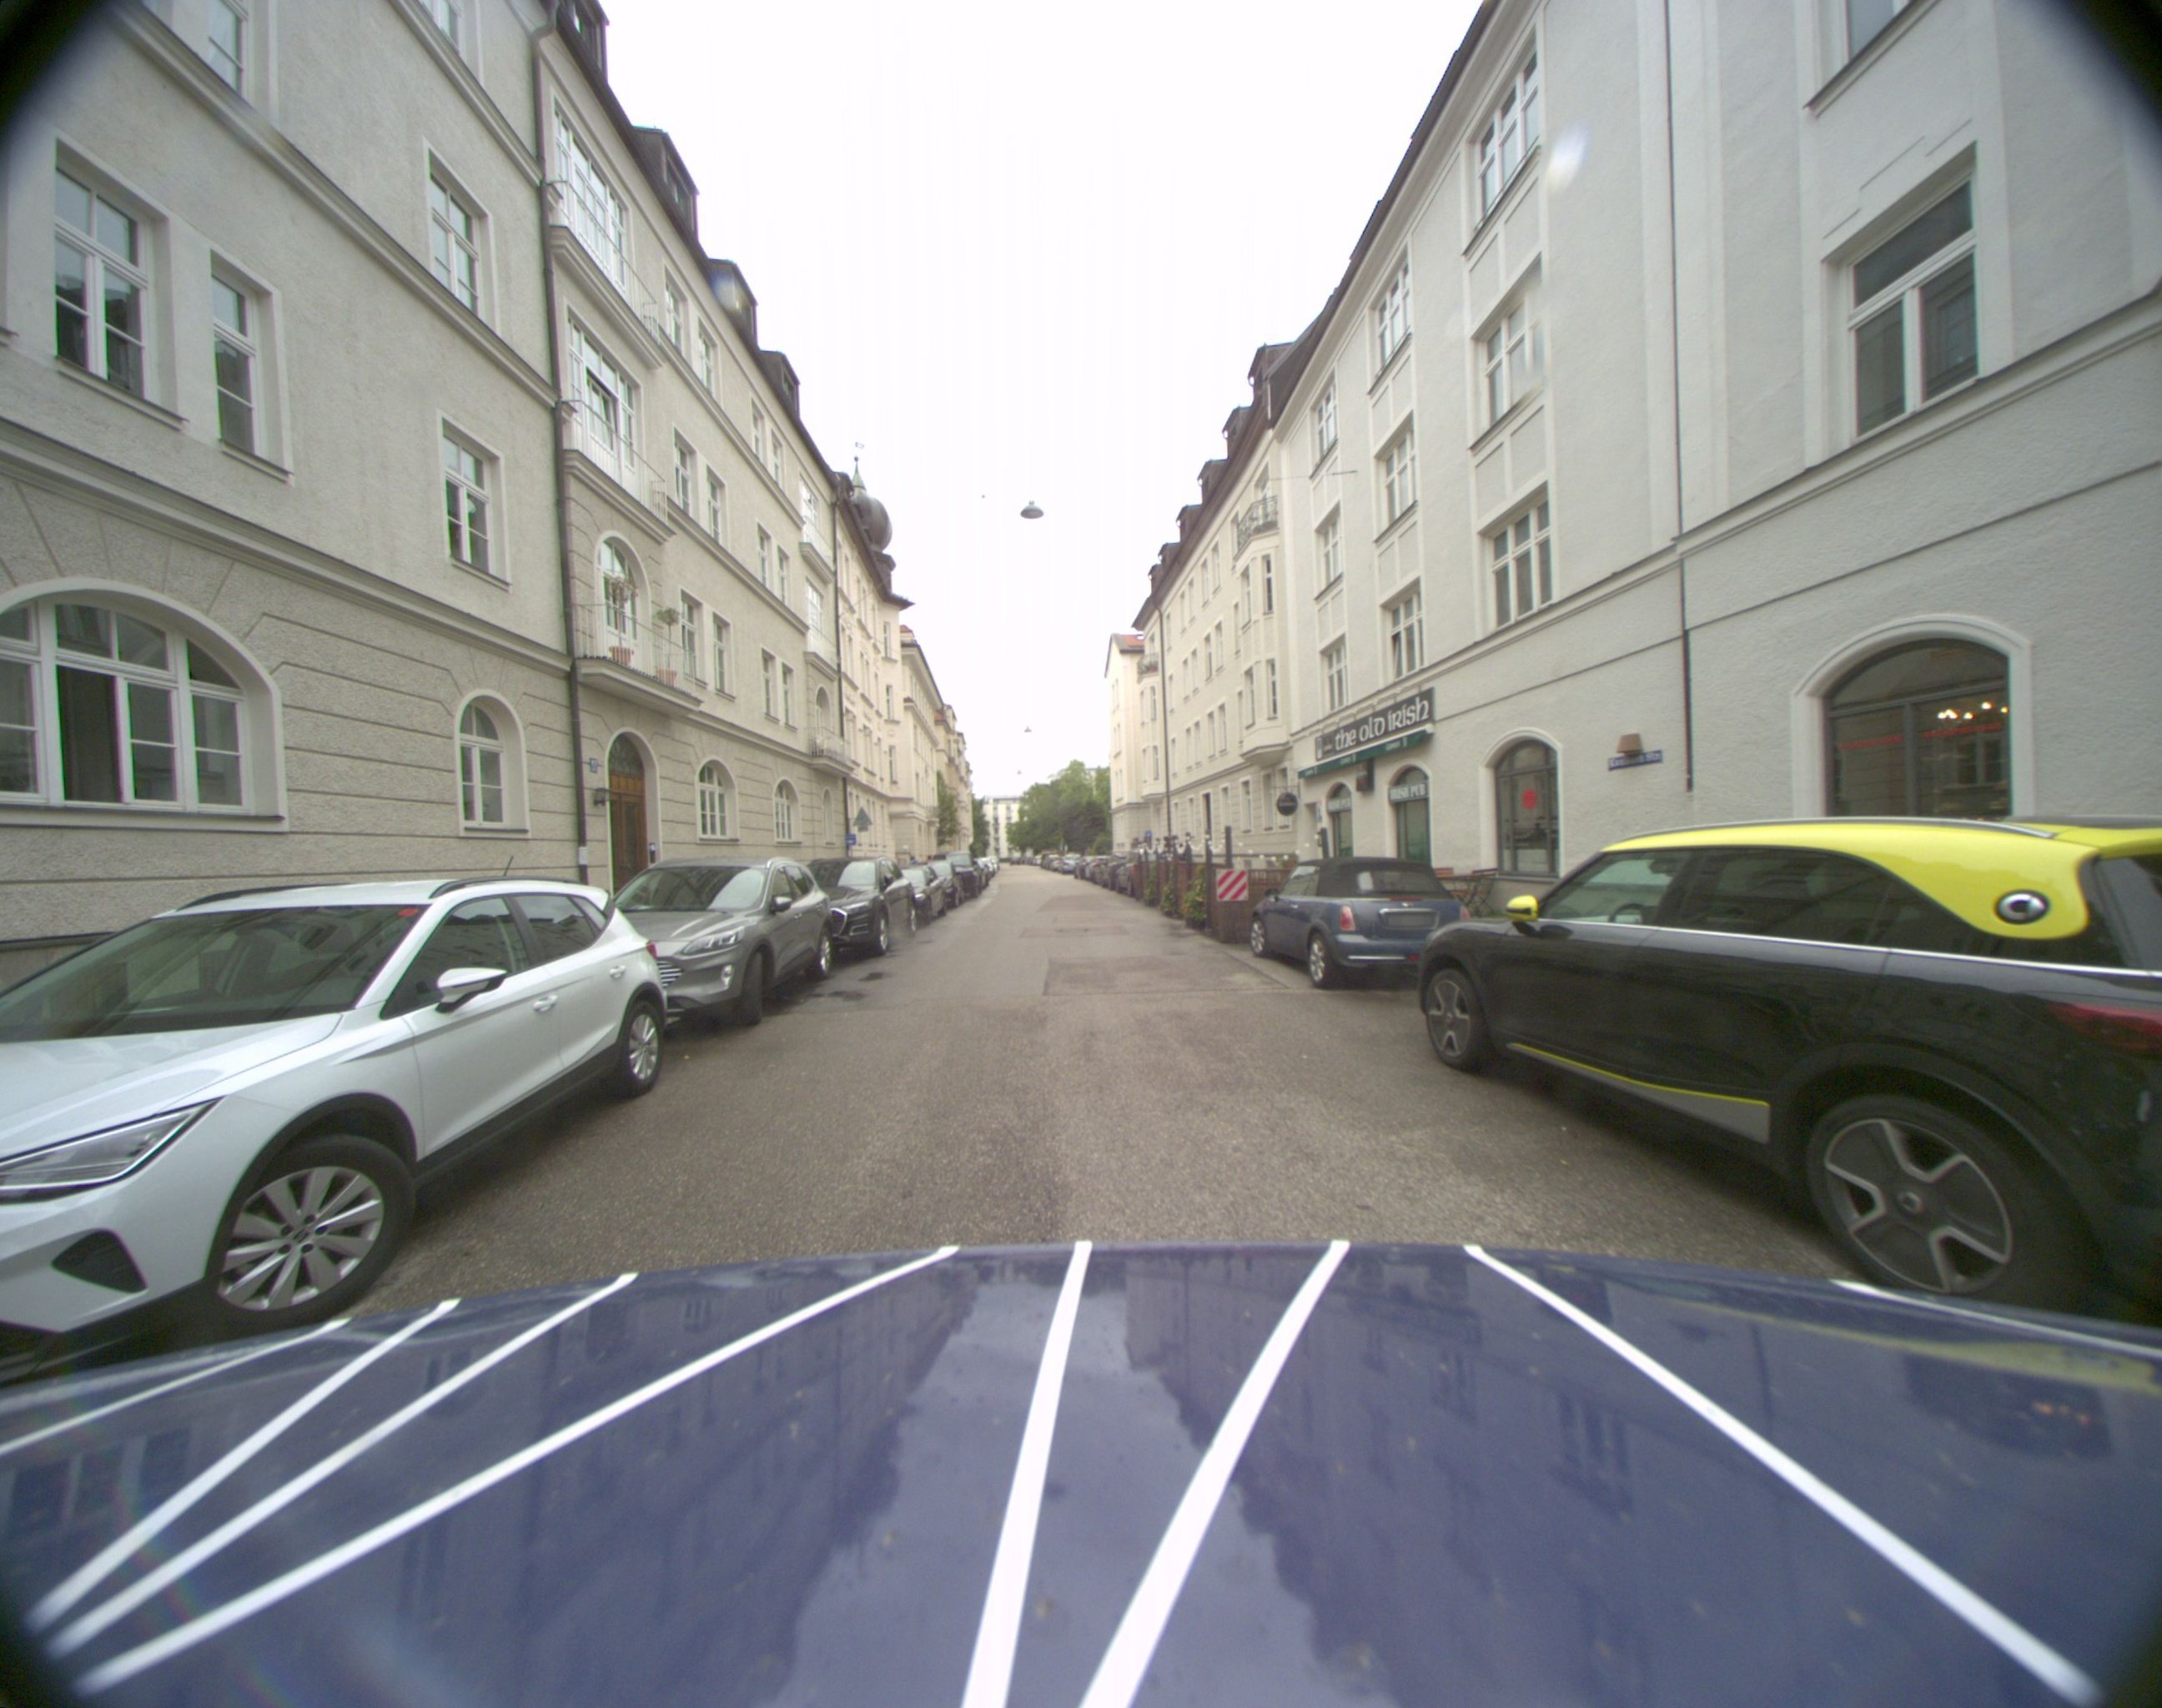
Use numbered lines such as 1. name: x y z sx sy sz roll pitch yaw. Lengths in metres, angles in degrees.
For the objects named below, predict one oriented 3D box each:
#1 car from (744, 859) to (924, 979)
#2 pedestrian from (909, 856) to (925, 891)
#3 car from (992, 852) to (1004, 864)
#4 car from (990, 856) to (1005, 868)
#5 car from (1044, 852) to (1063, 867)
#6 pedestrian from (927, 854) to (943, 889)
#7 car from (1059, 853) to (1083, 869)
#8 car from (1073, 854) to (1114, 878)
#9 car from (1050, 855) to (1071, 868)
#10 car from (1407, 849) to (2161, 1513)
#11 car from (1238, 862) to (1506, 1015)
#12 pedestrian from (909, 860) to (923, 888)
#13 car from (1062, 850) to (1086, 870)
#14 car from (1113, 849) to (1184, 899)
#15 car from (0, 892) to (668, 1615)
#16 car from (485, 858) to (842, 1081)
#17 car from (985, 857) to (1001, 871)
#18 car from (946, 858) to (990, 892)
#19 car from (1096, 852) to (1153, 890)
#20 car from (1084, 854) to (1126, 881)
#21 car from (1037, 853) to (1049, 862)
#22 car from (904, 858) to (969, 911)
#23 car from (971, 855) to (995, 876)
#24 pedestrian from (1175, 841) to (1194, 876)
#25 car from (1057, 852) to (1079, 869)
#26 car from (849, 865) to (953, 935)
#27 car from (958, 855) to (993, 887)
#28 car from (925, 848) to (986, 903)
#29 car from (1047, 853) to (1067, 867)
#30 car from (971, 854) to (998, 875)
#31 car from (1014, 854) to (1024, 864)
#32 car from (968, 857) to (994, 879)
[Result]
1. car: -4.096 0.966 13.396 1.782 1.626 4.374 -4 0 -2
2. pedestrian: -7.983 0.931 37.029 0.682 1.664 0.654 0 1 -8
3. car: -15.055 0.759 137.442 1.795 1.926 4.082 -4 0 -8
4. car: -10.854 0.997 98.788 1.646 1.409 3.998 -3 1 -5
5. car: -3.272 0.655 90.159 1.811 1.638 4.483 -5 0 -6
6. pedestrian: -7.241 0.874 37.778 0.705 1.718 0.703 -1 1 -8
7. car: -0.952 0.569 67.895 1.650 1.395 3.997 0 0 -8
8. car: 0.722 0.709 48.281 1.855 1.359 4.699 -3 0 -7
9. car: -2.208 0.817 80.694 1.740 1.357 4.190 -1 0 -8
10. car: 3.362 0.784 3.692 1.681 1.588 3.943 0 1 -3
11. car: 3.253 0.843 9.397 1.711 1.382 3.999 -1 1 -1
12. pedestrian: -10.052 1.226 46.311 0.684 1.669 0.811 0 0 -6
13. car: -0.592 0.466 61.627 1.701 1.571 4.060 0 0 -5
14. car: 2.363 0.669 27.522 1.751 1.663 4.273 1 0 -6
15. car: -3.682 1.067 3.533 1.756 1.487 3.906 -3 1 -8
16. car: -4.100 0.954 8.445 1.795 1.703 4.424 -2 0 -5
17. car: -9.712 1.087 83.708 1.668 1.499 4.062 -3 0 -8
18. car: -5.368 0.969 36.490 1.668 1.387 3.580 -4 1 -3
19. car: 1.774 0.677 32.523 1.747 1.478 4.178 -2 0 -6
20. car: 1.302 0.724 42.817 1.800 1.411 4.508 0 0 -5
21. car: -6.151 0.579 122.689 1.706 1.483 3.953 -1 0 -7
22. car: -4.717 0.958 25.249 1.660 1.516 3.635 -3 0 -5
23. car: -7.546 0.852 58.582 1.713 1.492 3.997 -3 1 -8
24. pedestrian: 5.133 0.219 37.671 0.664 1.697 0.701 -2 1 28
25. car: -1.275 0.619 72.632 1.802 1.426 4.077 -3 1 -6
26. car: -4.441 1.068 19.368 1.711 1.462 4.200 -2 0 -2
27. car: -5.790 0.915 42.003 1.712 1.578 3.997 -4 0 -7
28. car: -4.944 0.783 30.553 1.916 1.874 4.711 -5 1 -5
29. car: -2.736 0.683 84.472 1.774 1.412 3.996 -2 1 -8
30. car: -7.986 0.893 63.095 1.901 1.626 4.390 -2 0 -4
31. car: -11.648 0.910 142.167 1.729 1.525 4.081 -2 2 -7
32. car: -6.969 0.976 53.436 1.617 1.387 3.998 -4 0 -6
